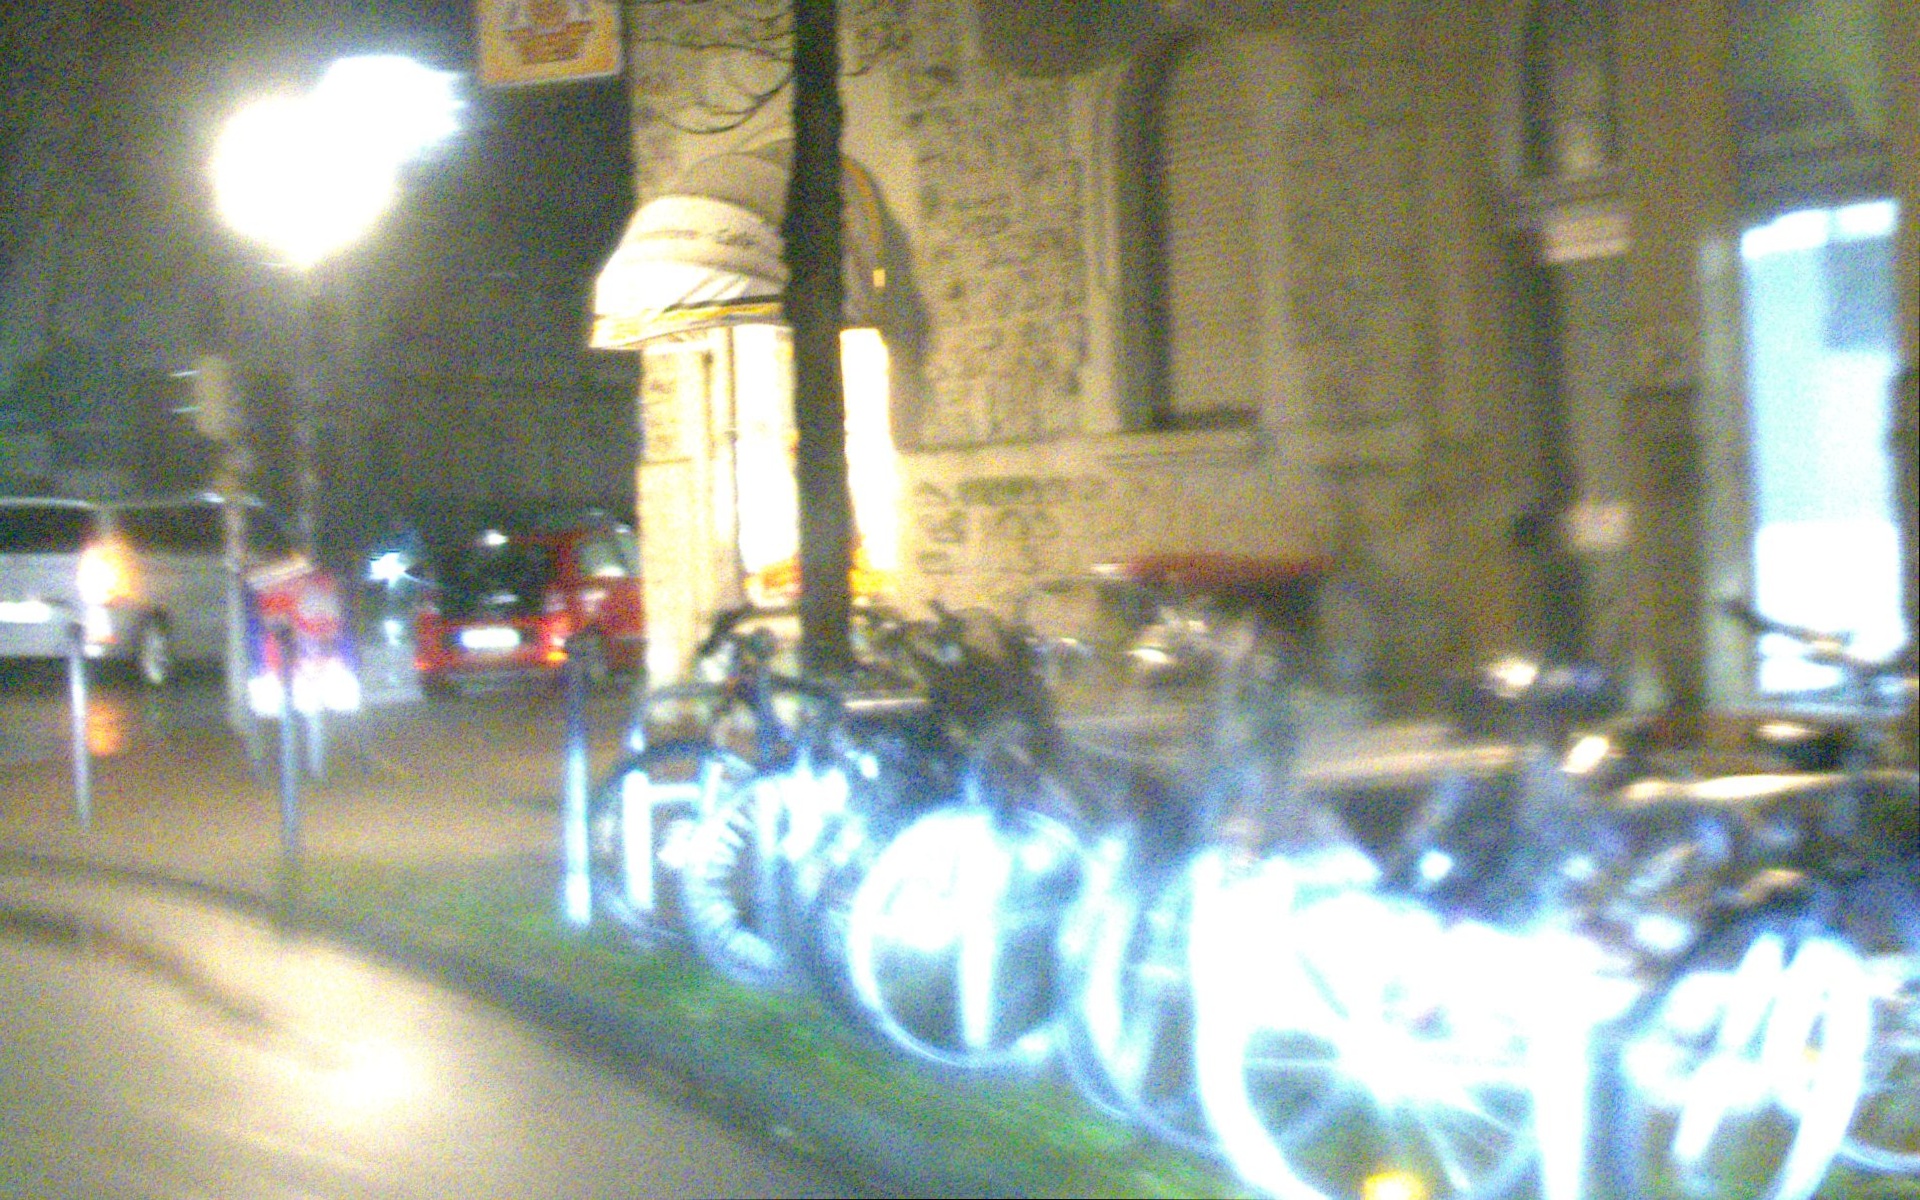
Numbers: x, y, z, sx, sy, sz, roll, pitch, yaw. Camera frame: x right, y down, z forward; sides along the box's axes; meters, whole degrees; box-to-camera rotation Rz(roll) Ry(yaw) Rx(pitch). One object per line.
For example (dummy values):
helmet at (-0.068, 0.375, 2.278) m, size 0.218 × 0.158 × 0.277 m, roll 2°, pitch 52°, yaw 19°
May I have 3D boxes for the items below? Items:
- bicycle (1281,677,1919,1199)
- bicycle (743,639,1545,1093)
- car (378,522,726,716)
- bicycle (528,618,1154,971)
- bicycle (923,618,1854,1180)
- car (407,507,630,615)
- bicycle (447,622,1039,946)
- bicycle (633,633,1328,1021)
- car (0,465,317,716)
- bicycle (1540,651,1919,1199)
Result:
bicycle at (1.597, 0.662, 6.261) m, size 1.969 × 1.003 × 0.642 m, roll -2°, pitch 1°, yaw 7°
bicycle at (0.490, 0.651, 8.966) m, size 1.968 × 1.003 × 0.642 m, roll -2°, pitch 1°, yaw -22°
car at (-3.708, 0.136, 31.851) m, size 1.649 × 1.519 × 3.577 m, roll -5°, pitch 0°, yaw 20°
bicycle at (-0.392, 0.621, 11.566) m, size 1.968 × 1.031 × 0.642 m, roll -2°, pitch 1°, yaw -22°
bicycle at (0.969, 0.615, 7.685) m, size 1.968 × 1.061 × 0.642 m, roll -2°, pitch 1°, yaw -22°
car at (-8.371, -0.785, 65.679) m, size 1.996 × 1.819 × 5.304 m, roll 2°, pitch 3°, yaw 20°
bicycle at (-0.768, 0.625, 12.244) m, size 1.968 × 1.003 × 0.642 m, roll -2°, pitch 1°, yaw -22°
bicycle at (0.071, 0.647, 10.373) m, size 1.968 × 1.003 × 0.642 m, roll -2°, pitch 1°, yaw -22°
car at (-8.657, -0.163, 36.346) m, size 2.217 × 2.433 × 5.383 m, roll -1°, pitch 2°, yaw 5°
bicycle at (1.989, 0.621, 6.230) m, size 1.969 × 1.050 × 0.642 m, roll -3°, pitch 1°, yaw -37°
